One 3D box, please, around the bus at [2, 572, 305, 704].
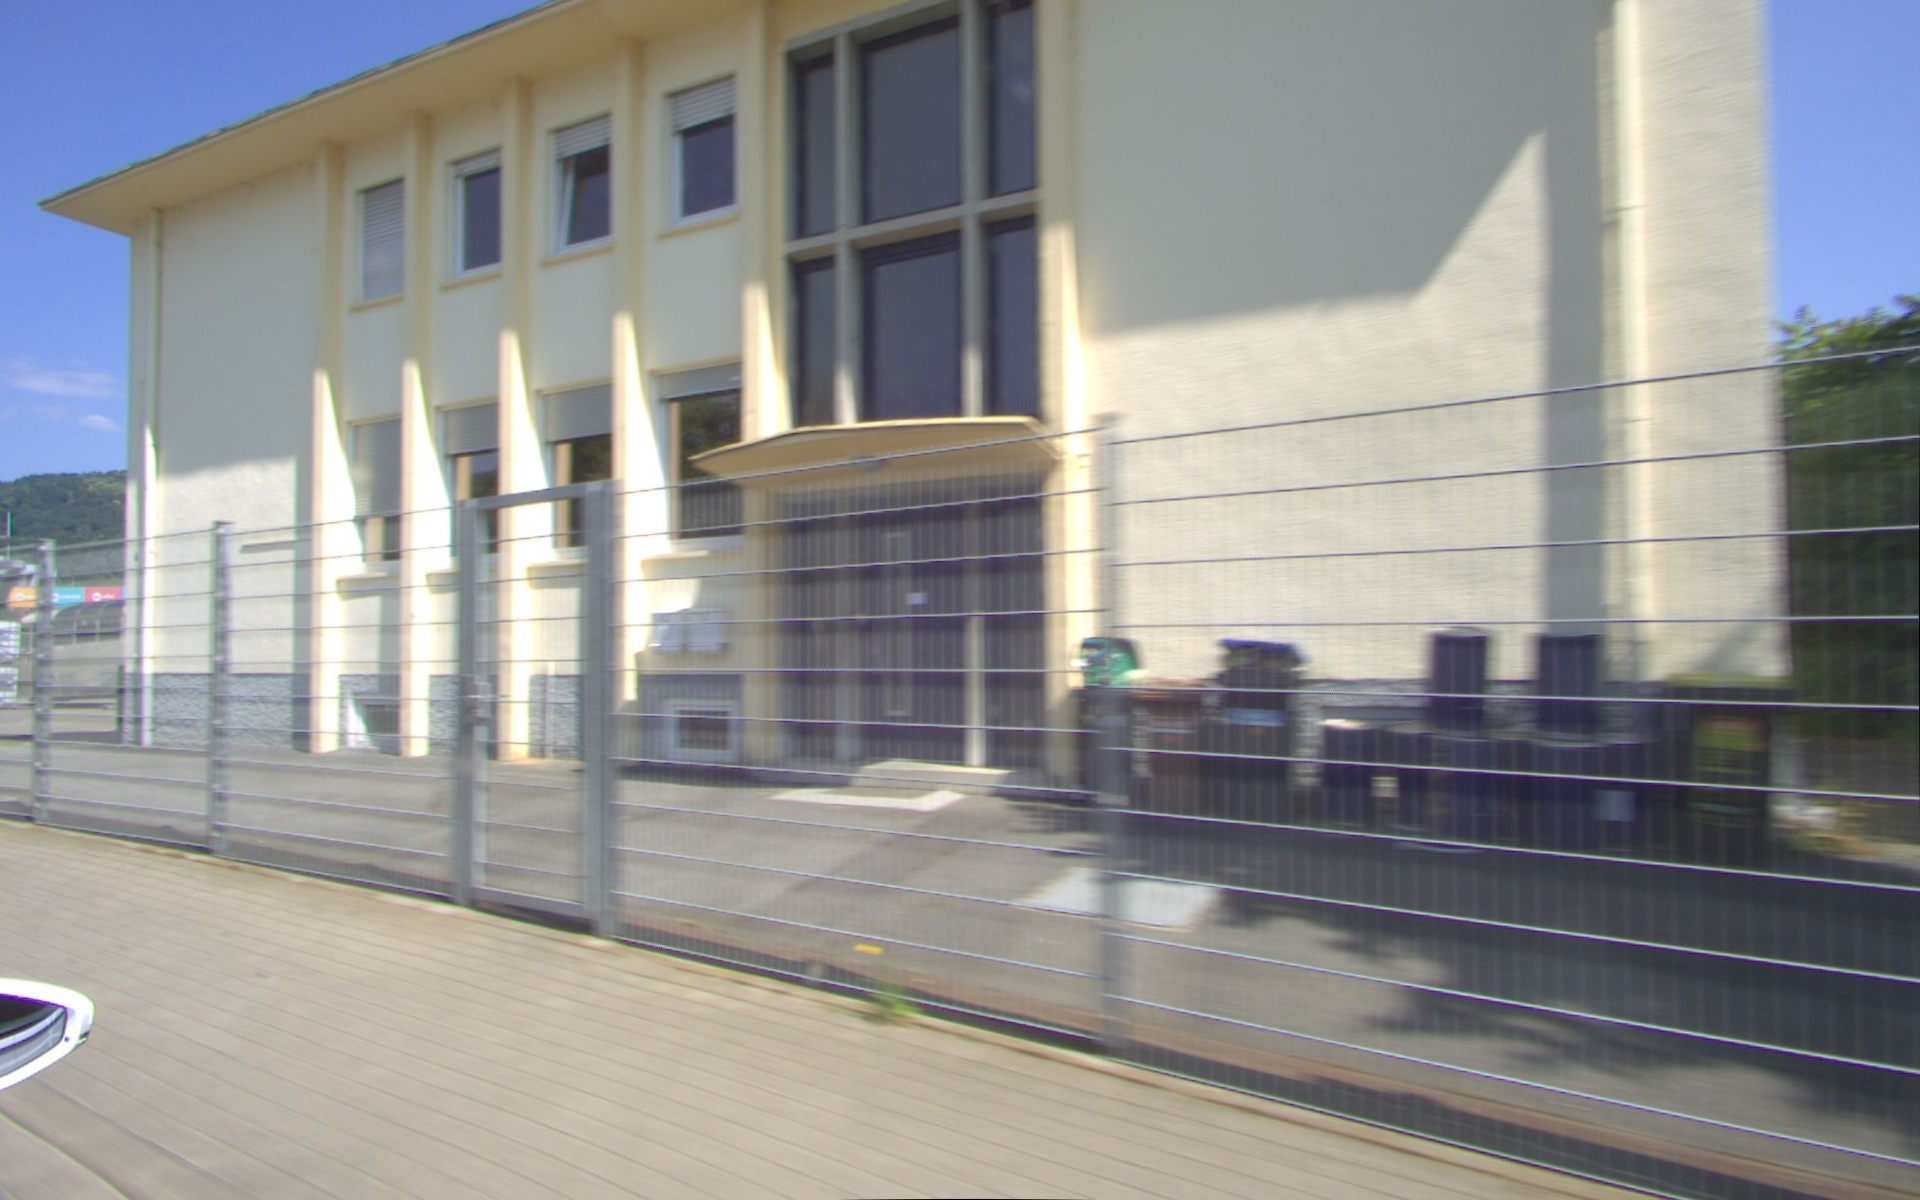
[{"bbox_3d":[-22.620,1.214,27.892,10.108,3.210,2.566,-3,-3,26],"label":"bus"}]
